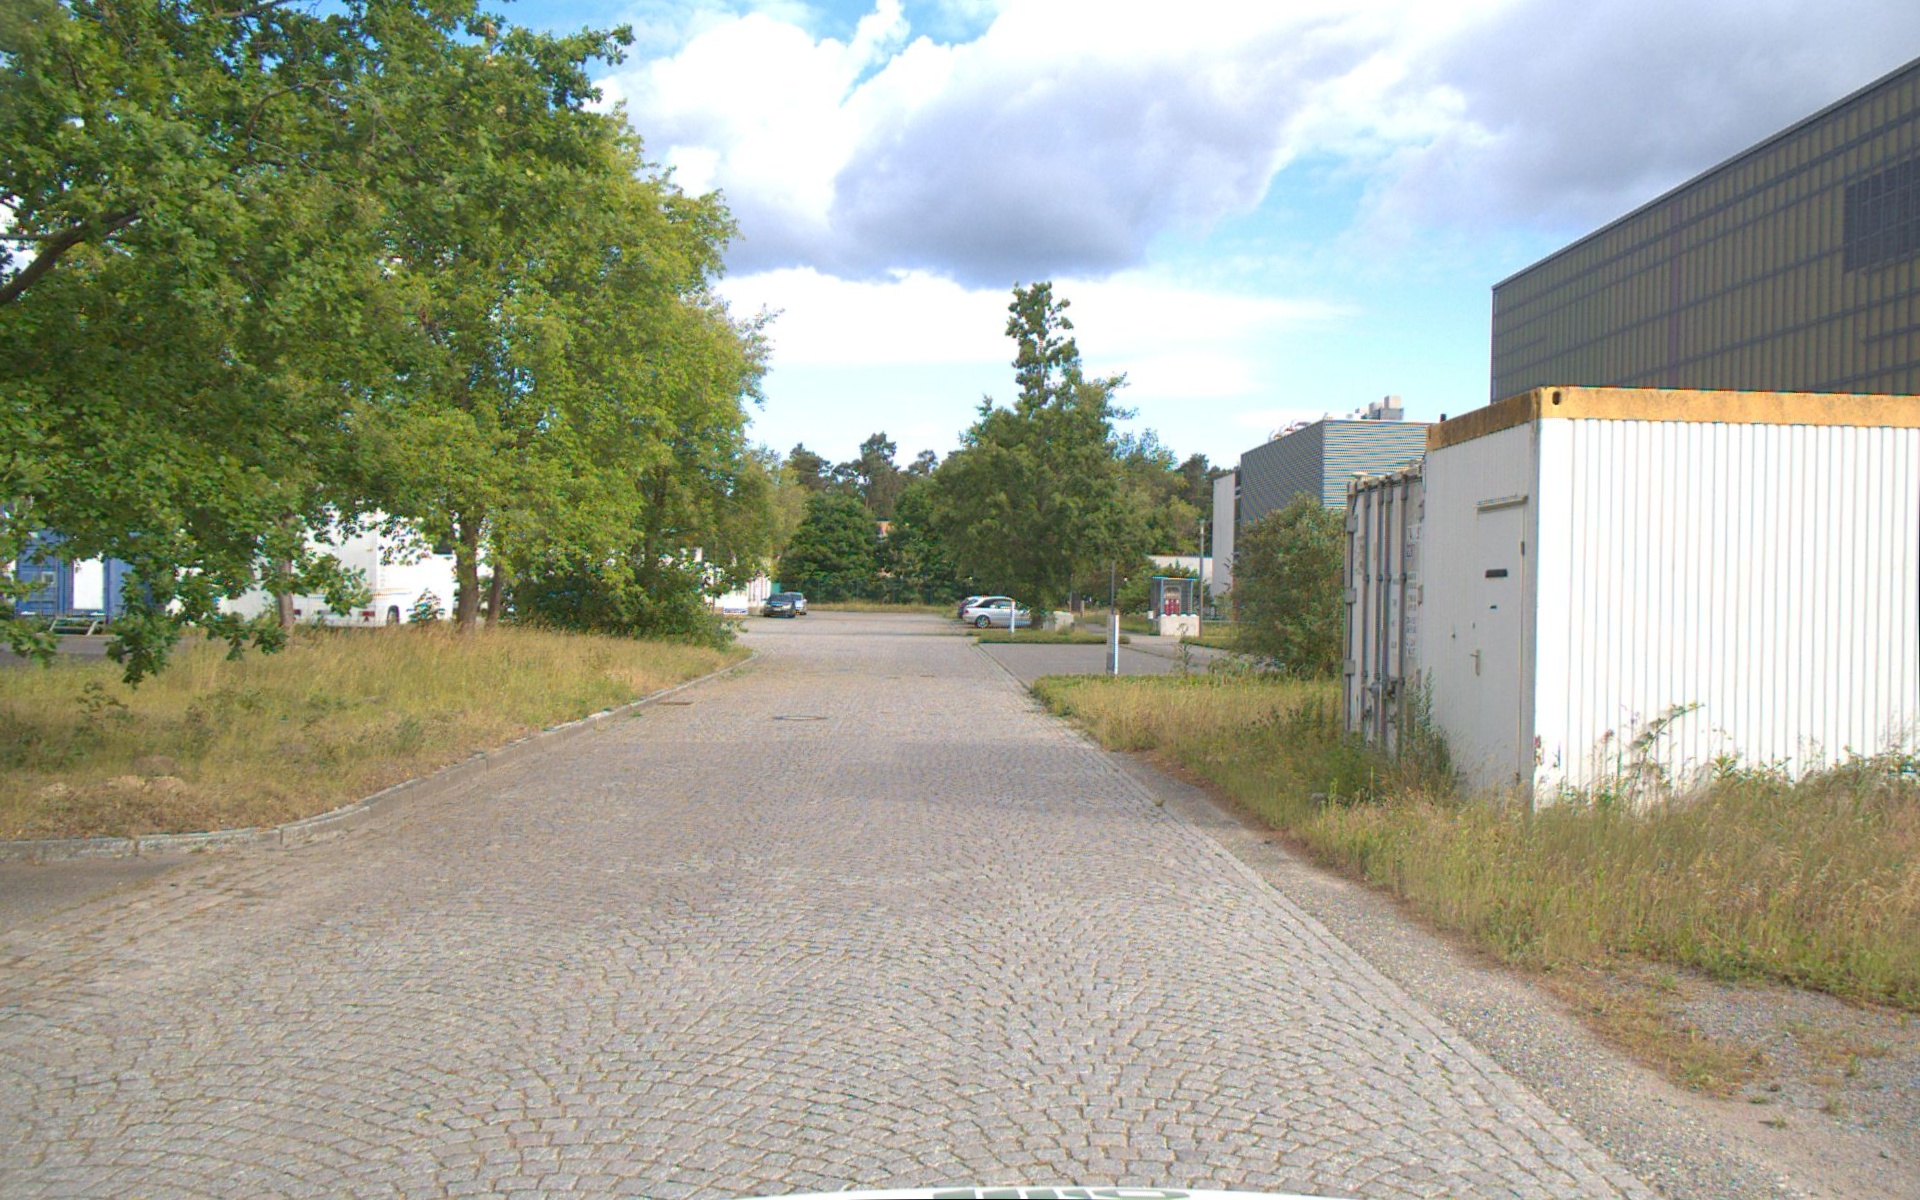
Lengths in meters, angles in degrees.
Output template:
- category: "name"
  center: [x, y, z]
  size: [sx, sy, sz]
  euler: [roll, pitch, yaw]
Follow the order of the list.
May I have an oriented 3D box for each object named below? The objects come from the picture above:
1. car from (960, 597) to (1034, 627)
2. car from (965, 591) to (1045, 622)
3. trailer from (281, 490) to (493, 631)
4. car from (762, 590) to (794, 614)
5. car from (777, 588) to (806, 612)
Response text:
- category: "car"
  center: [1.759, 0.585, 79.465]
  size: [3.451, 1.386, 1.622]
  euler: [-1, 0, -2]
- category: "car"
  center: [2.206, 0.299, 82.176]
  size: [3.904, 1.473, 1.653]
  euler: [-1, 0, -2]
- category: "trailer"
  center: [-16.571, -1.066, 48.770]
  size: [2.571, 3.661, 10.177]
  euler: [1, 0, 0]
- category: "car"
  center: [-11.046, 0.093, 100.585]
  size: [1.614, 1.393, 3.996]
  euler: [1, 0, -2]
- category: "car"
  center: [-11.256, -0.010, 110.923]
  size: [1.614, 1.484, 3.996]
  euler: [1, 0, -2]
